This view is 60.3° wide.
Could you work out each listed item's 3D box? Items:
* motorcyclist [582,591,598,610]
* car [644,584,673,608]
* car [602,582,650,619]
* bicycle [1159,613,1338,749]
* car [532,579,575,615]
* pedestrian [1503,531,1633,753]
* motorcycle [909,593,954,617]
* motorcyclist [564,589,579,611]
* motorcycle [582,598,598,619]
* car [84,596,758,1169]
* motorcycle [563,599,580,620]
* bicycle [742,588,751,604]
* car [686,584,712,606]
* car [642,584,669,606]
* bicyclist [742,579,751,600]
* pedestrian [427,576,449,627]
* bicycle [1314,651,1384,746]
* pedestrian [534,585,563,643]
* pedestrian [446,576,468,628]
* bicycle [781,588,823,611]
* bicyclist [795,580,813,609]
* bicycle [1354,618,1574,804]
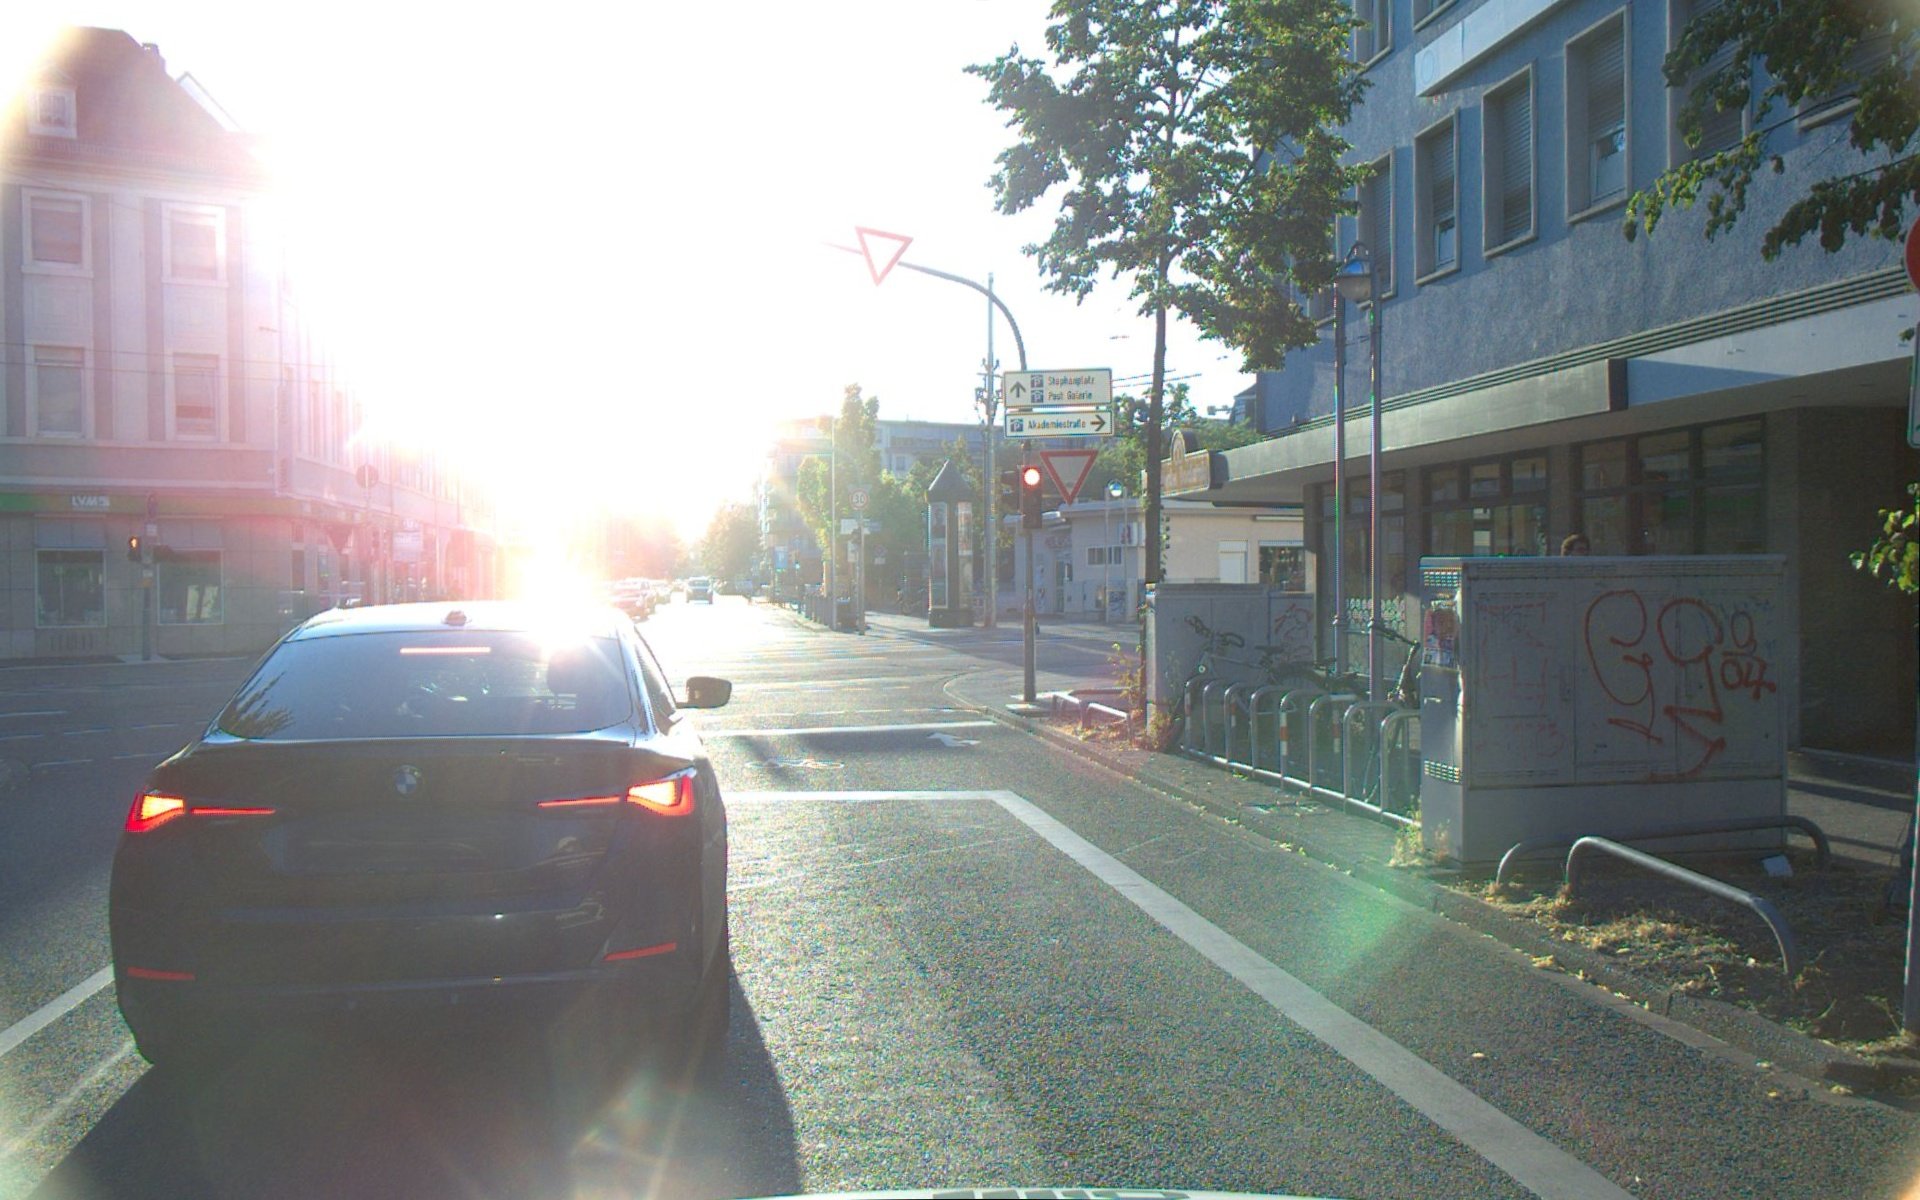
[{"bbox_3d":[-17.732,0.018,79.255,0.564,0.931,2.196,1,0,-8],"label":"motorcyclist"},{"bbox_3d":[-20.672,-0.288,113.630,1.784,1.545,3.992,-1,1,-9],"label":"car"},{"bbox_3d":[-14.476,0.007,71.800,1.784,1.545,3.992,-1,1,-9],"label":"car"},{"bbox_3d":[2.648,0.734,15.193,1.582,1.191,0.318,-1,0,-7],"label":"bicycle"},{"bbox_3d":[-21.308,-0.173,86.748,1.784,1.819,3.992,-1,1,-9],"label":"car"},{"bbox_3d":[5.276,0.349,14.386,0.820,1.874,0.677,-1,0,-9],"label":"pedestrian"},{"bbox_3d":[-1.176,0.213,67.820,1.644,0.955,0.851,-1,1,-20],"label":"motorcycle"},{"bbox_3d":[-17.670,-0.003,75.238,0.564,1.013,0.701,1,0,-9],"label":"motorcyclist"},{"bbox_3d":[-17.777,0.403,79.521,0.564,0.931,2.196,1,0,-8],"label":"motorcycle"},{"bbox_3d":[-1.750,0.720,6.464,1.705,1.453,4.214,0,0,-10],"label":"car"},{"bbox_3d":[-17.708,0.422,75.449,0.564,0.931,2.196,1,0,-8],"label":"motorcycle"},{"bbox_3d":[-15.227,-0.287,117.931,0.540,1.179,2.139,1,0,-10],"label":"bicycle"},{"bbox_3d":[-18.772,-0.383,118.986,1.784,1.545,3.992,-1,1,-9],"label":"car"},{"bbox_3d":[-22.518,-0.363,122.499,1.784,1.545,3.992,-1,1,-9],"label":"car"},{"bbox_3d":[-15.209,-0.755,117.857,0.540,1.507,0.721,1,0,-10],"label":"bicyclist"},{"bbox_3d":[-19.453,0.051,61.640,0.631,1.909,0.630,1,0,-9],"label":"pedestrian"},{"bbox_3d":[3.597,0.896,15.336,0.245,0.810,1.114,1,0,-7],"label":"bicycle"},{"bbox_3d":[-11.135,0.377,44.741,0.720,1.555,0.471,1,0,-13],"label":"pedestrian"},{"bbox_3d":[-18.670,0.066,61.422,0.664,1.909,0.616,1,0,-9],"label":"pedestrian"},{"bbox_3d":[-8.528,-0.025,89.317,2.166,1.223,0.620,1,0,2],"label":"bicycle"},{"bbox_3d":[-8.437,-0.282,89.306,0.865,1.532,0.612,1,0,3],"label":"bicyclist"},{"bbox_3d":[3.476,0.761,11.425,1.413,1.241,0.383,1,0,-8],"label":"bicycle"}]
